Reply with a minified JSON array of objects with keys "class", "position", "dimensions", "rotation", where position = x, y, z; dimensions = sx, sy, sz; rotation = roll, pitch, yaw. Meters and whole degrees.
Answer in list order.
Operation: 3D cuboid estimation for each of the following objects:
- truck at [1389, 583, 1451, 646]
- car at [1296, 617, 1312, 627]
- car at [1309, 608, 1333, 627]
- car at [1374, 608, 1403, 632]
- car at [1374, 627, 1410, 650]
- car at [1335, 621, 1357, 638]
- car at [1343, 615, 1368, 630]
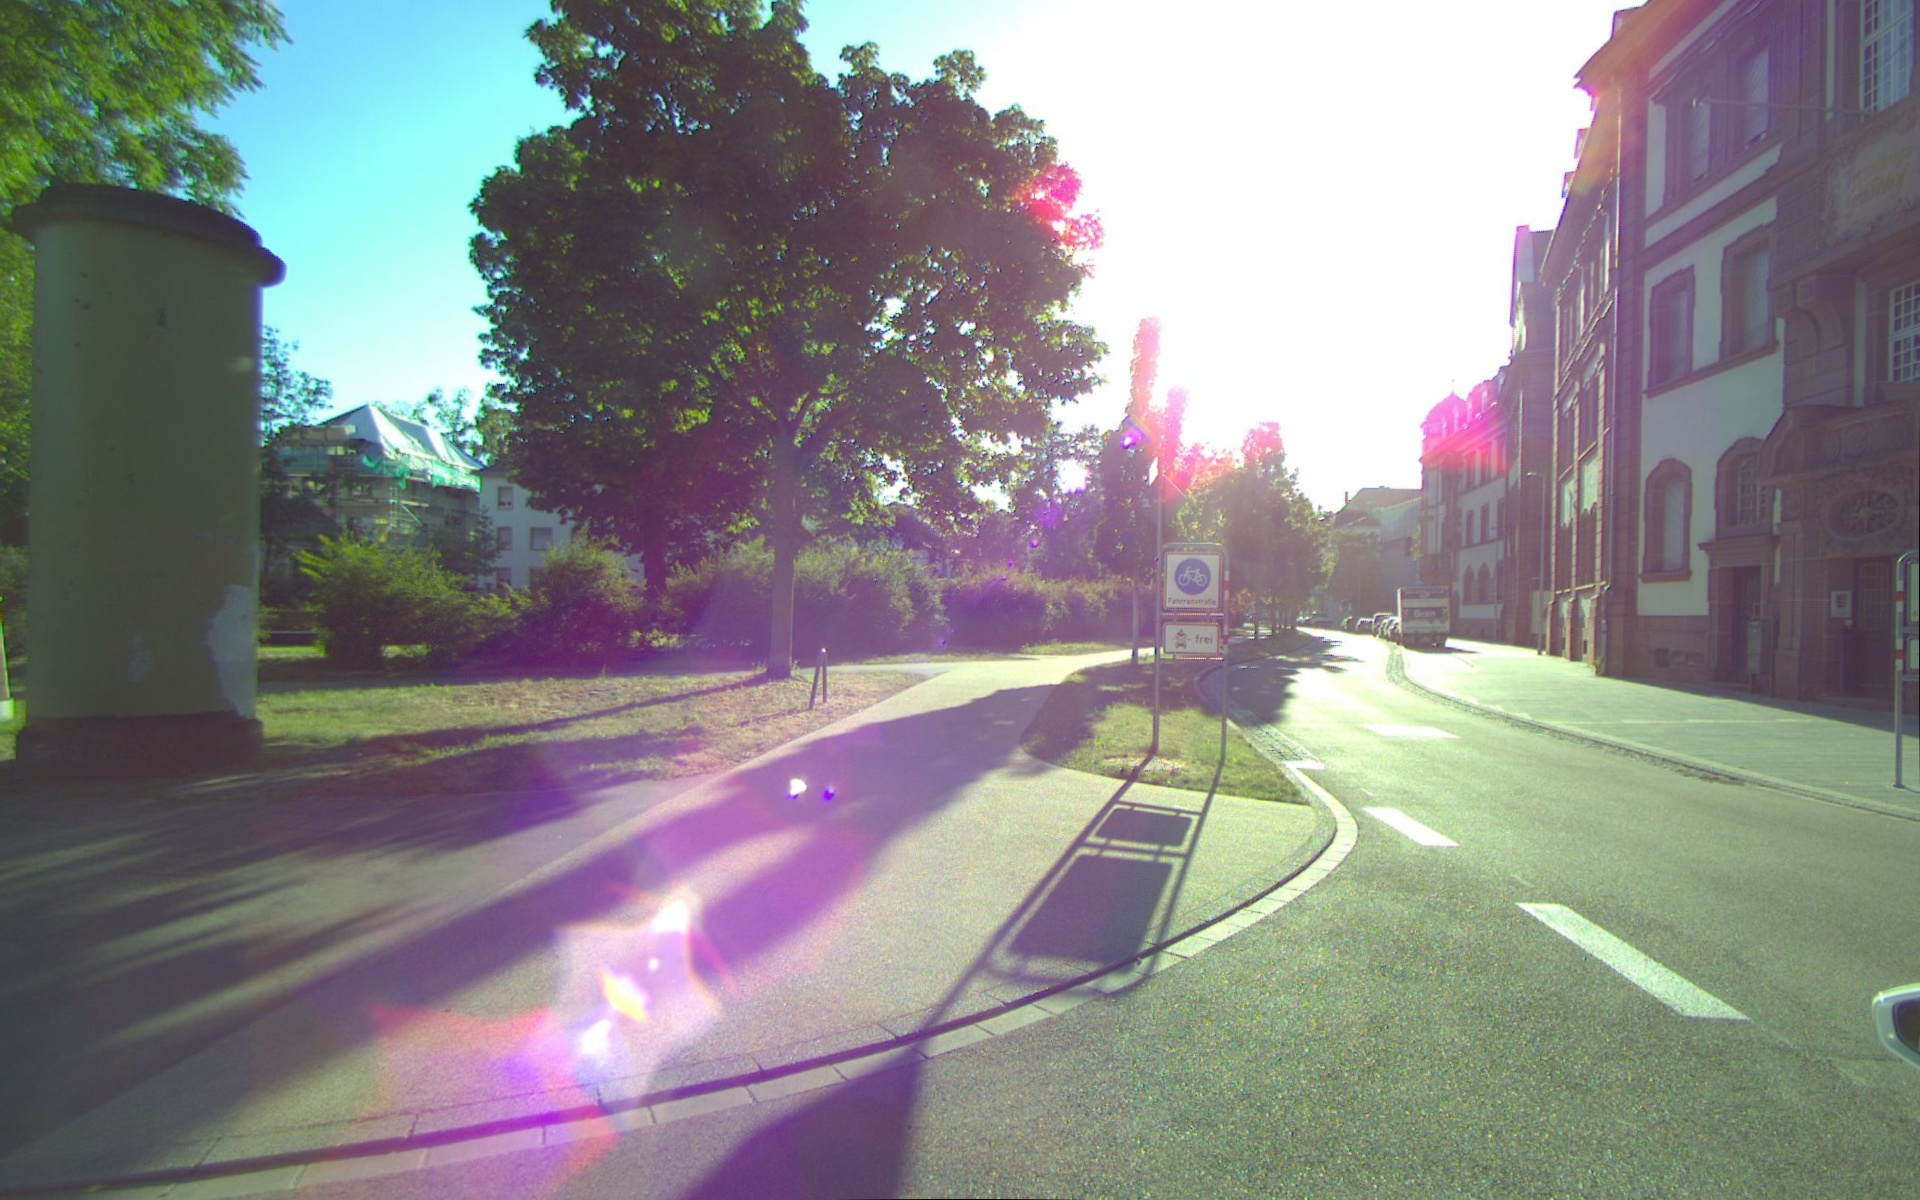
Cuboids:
[{"class":"truck","position":[24.693,0.747,54.168],"dimensions":[2.580,3.162,6.087],"rotation":[1,0,21]},{"class":"car","position":[50.990,3.190,148.948],"dimensions":[1.661,1.460,3.553],"rotation":[0,-1,10]},{"class":"car","position":[49.577,2.352,137.925],"dimensions":[2.173,2.563,6.151],"rotation":[-1,-1,11]},{"class":"car","position":[37.319,1.764,87.513],"dimensions":[1.961,1.992,4.849],"rotation":[-3,-2,20]},{"class":"car","position":[29.155,2.570,67.899],"dimensions":[1.840,1.455,4.523],"rotation":[-1,-1,18]},{"class":"car","position":[42.119,3.213,109.555],"dimensions":[1.695,1.691,4.116],"rotation":[0,-1,14]},{"class":"car","position":[39.274,2.227,99.792],"dimensions":[1.718,1.486,4.480],"rotation":[1,0,13]}]
